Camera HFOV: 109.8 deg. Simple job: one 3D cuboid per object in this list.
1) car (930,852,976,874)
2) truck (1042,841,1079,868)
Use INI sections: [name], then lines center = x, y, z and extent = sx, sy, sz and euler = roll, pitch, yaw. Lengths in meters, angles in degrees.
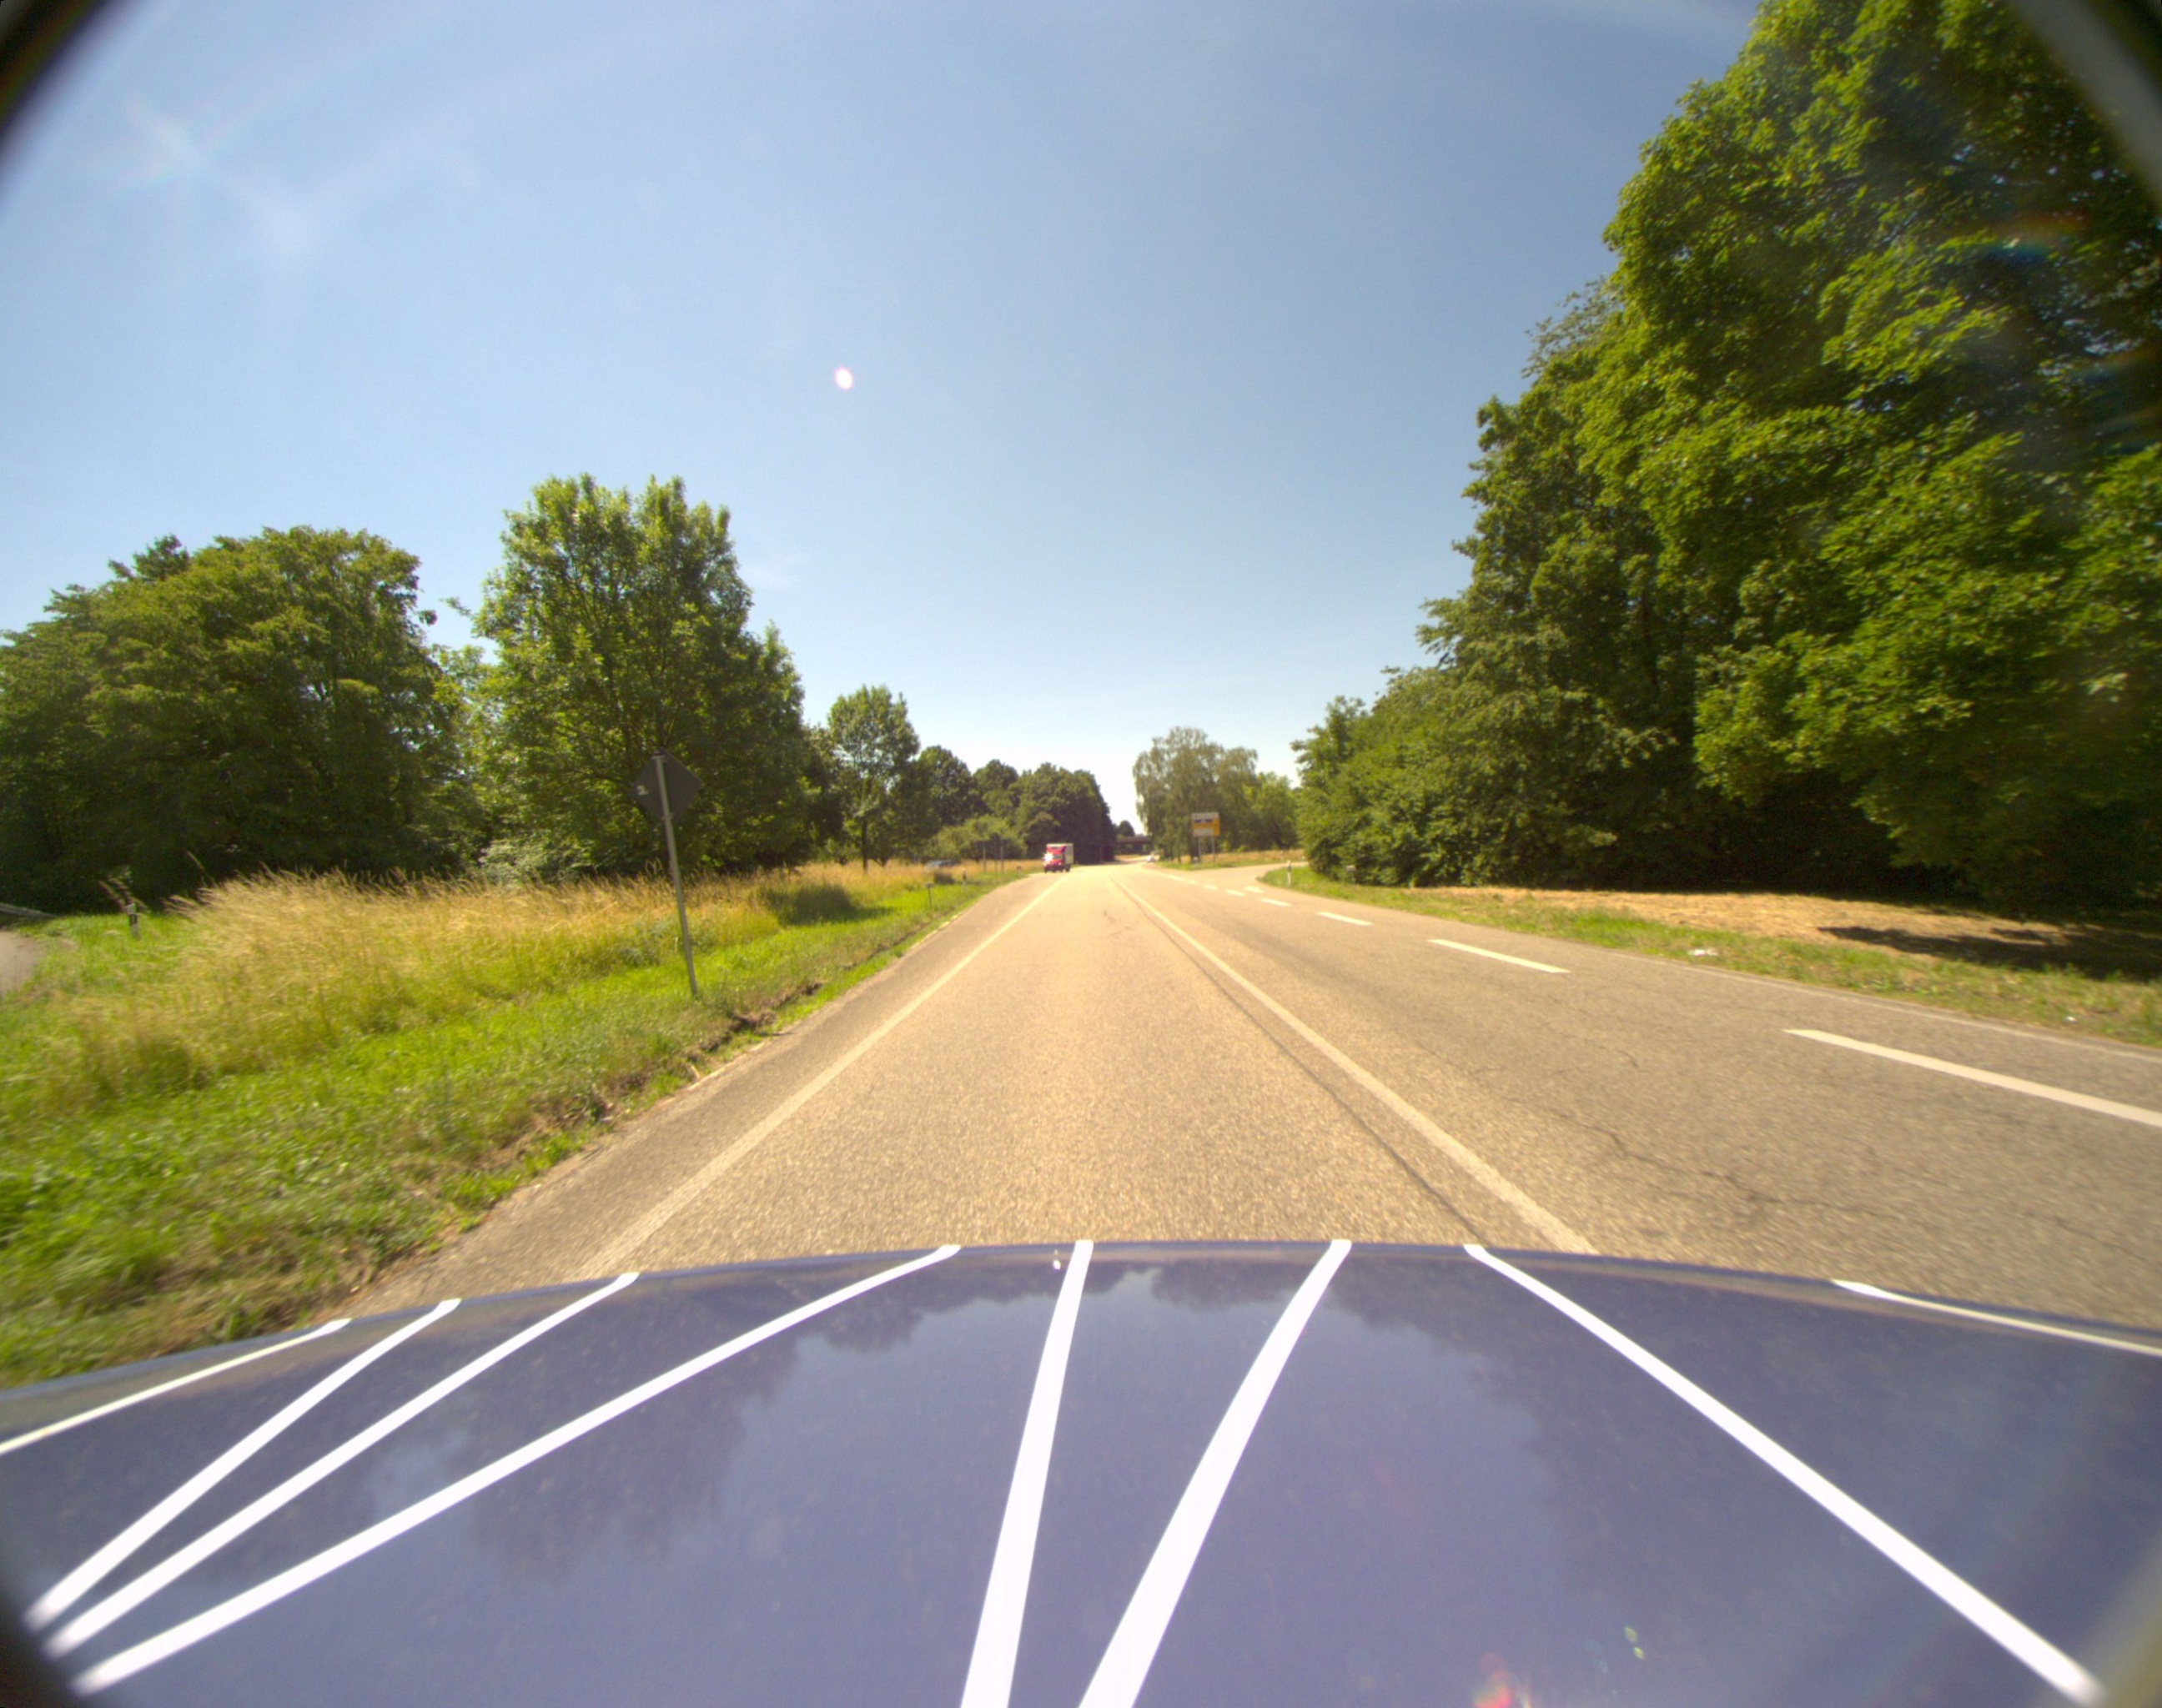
[car]
center = -11.124, 0.791, 66.200
extent = 1.743, 1.833, 4.008
euler = -1, 1, 32
[truck]
center = -2.258, -0.007, 86.276
extent = 2.455, 2.926, 6.980
euler = -2, 1, 12
